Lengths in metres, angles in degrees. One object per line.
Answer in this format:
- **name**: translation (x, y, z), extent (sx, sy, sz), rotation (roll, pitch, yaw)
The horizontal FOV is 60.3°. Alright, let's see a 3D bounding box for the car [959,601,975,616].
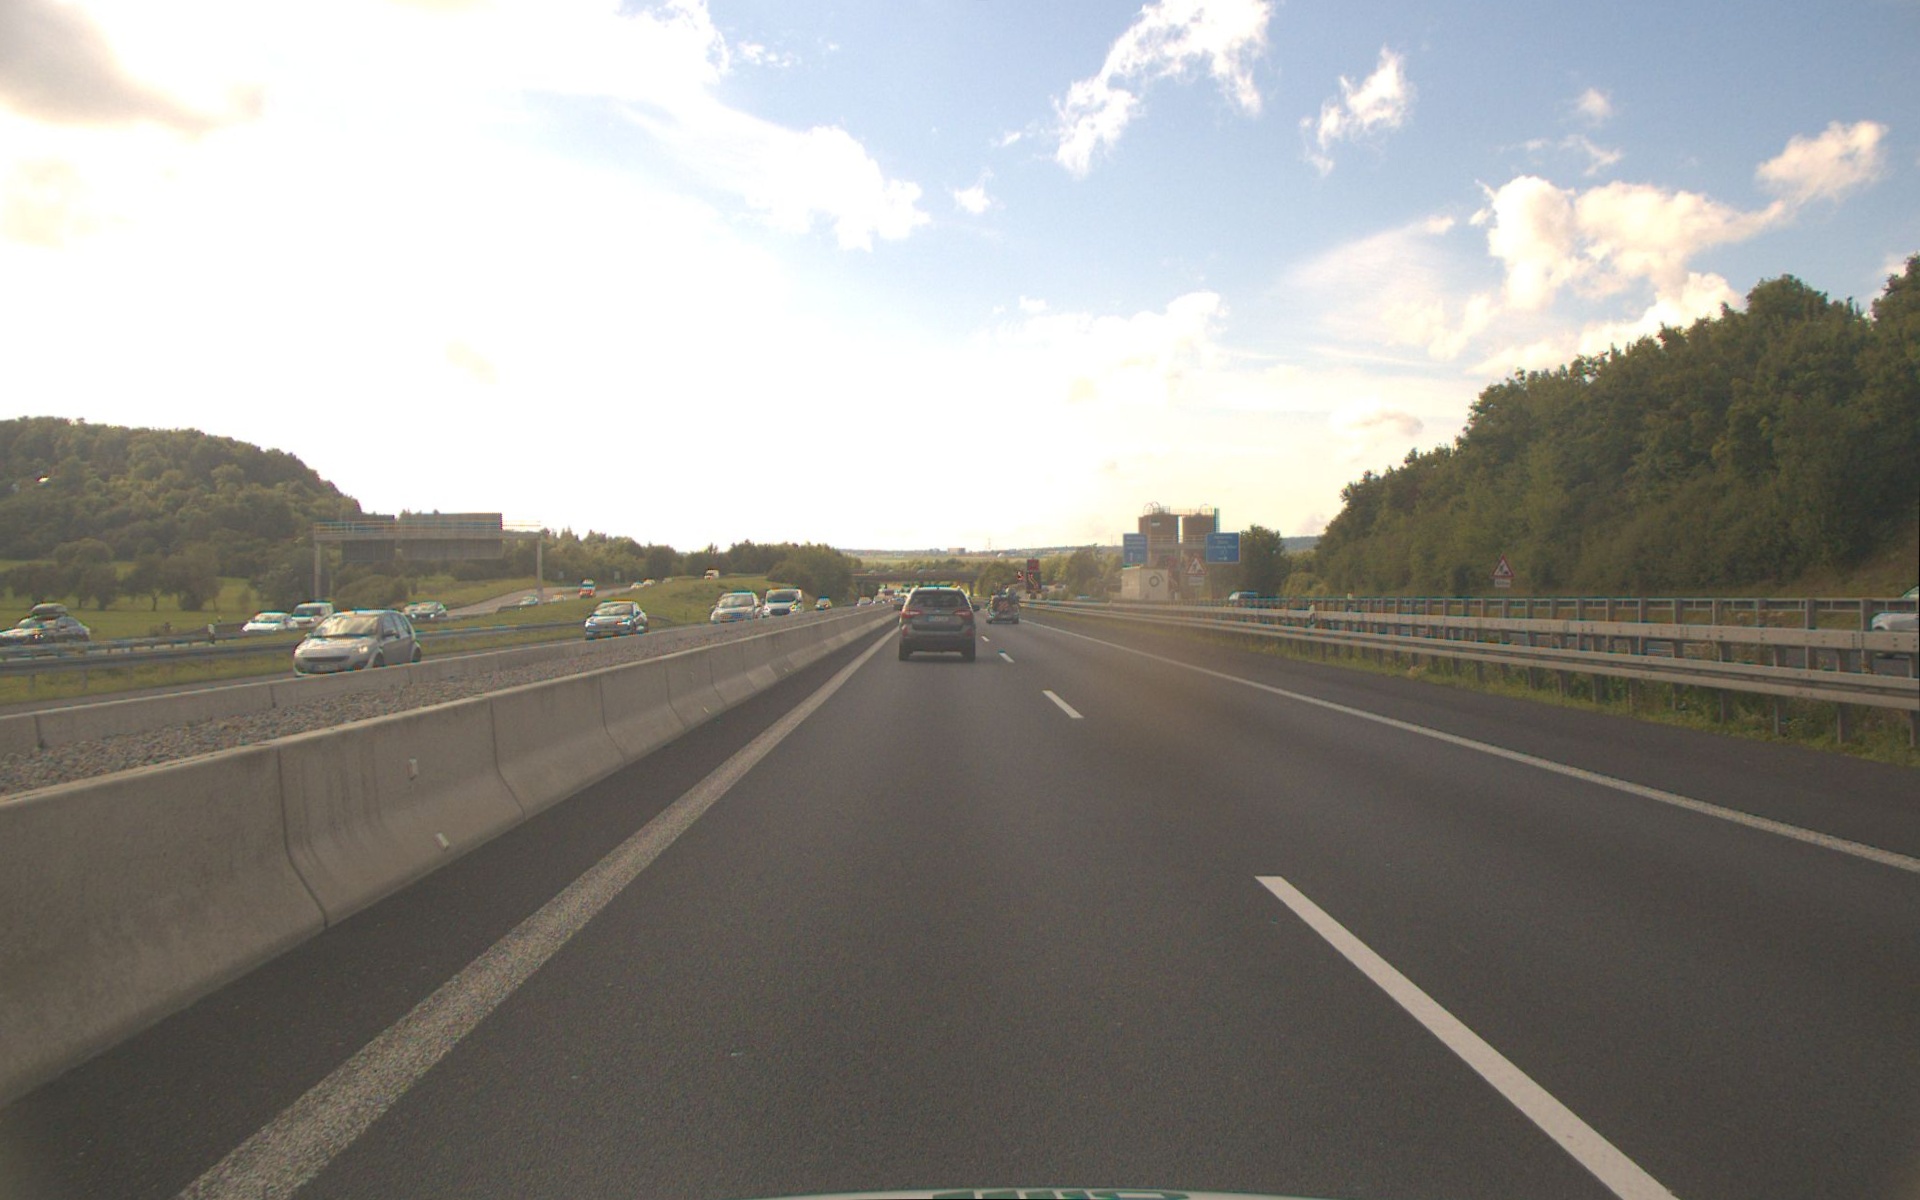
- **car**: translation (0.871, 1.025, 206.903), extent (1.935, 1.810, 4.119), rotation (-2, 0, -1)

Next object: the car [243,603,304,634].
- **car**: translation (-33.749, 0.918, 81.402), extent (1.739, 1.425, 4.389), rotation (-2, 0, -9)

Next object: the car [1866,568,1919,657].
- **car**: translation (19.646, 0.207, 32.001), extent (1.953, 1.738, 3.999), rotation (-2, 0, -1)

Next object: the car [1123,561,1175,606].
- **car**: translation (16.792, -1.422, 147.316), extent (3.504, 3.741, 7.547), rotation (-2, 0, -1)

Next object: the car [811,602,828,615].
- **car**: translation (-16.114, 0.964, 189.594), extent (1.692, 1.422, 4.157), rotation (-2, 0, -1)

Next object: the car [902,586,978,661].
- **car**: translation (-0.446, 0.547, 39.939), extent (1.714, 1.659, 3.609), rotation (-2, 0, 0)

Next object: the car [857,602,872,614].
- **car**: translation (-11.351, 0.966, 196.211), extent (1.608, 1.422, 3.740), rotation (-2, 0, -1)

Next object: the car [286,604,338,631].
- **car**: translation (-40.172, 1.060, 102.617), extent (1.738, 1.575, 4.883), rotation (-2, 0, -6)

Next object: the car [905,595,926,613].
- **car**: translation (-4.799, 0.434, 179.527), extent (2.124, 1.876, 4.000), rotation (-2, 0, 0)

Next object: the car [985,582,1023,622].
- **car**: translation (2.506, 0.112, 94.306), extent (1.953, 2.117, 3.999), rotation (-2, 0, -1)

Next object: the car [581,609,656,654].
- **car**: translation (-12.905, 1.181, 62.804), extent (1.953, 1.559, 4.506), rotation (-2, 0, -1)

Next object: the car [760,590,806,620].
- **car**: translation (-9.675, 0.263, 90.785), extent (1.953, 1.559, 5.746), rotation (-2, 0, -1)

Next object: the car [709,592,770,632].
- **car**: translation (-9.307, 0.477, 70.061), extent (1.953, 1.559, 5.020), rotation (-2, 0, -1)

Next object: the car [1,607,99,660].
- **car**: translation (-35.062, 1.264, 63.853), extent (1.739, 1.930, 4.392), rotation (-2, 0, -7)

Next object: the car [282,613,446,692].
- **car**: translation (-12.473, 1.052, 34.898), extent (1.953, 1.481, 4.180), rotation (-2, 0, -1)

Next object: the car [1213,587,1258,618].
- **car**: translation (16.604, 0.144, 99.804), extent (1.953, 1.747, 3.999), rotation (-2, 0, -1)
